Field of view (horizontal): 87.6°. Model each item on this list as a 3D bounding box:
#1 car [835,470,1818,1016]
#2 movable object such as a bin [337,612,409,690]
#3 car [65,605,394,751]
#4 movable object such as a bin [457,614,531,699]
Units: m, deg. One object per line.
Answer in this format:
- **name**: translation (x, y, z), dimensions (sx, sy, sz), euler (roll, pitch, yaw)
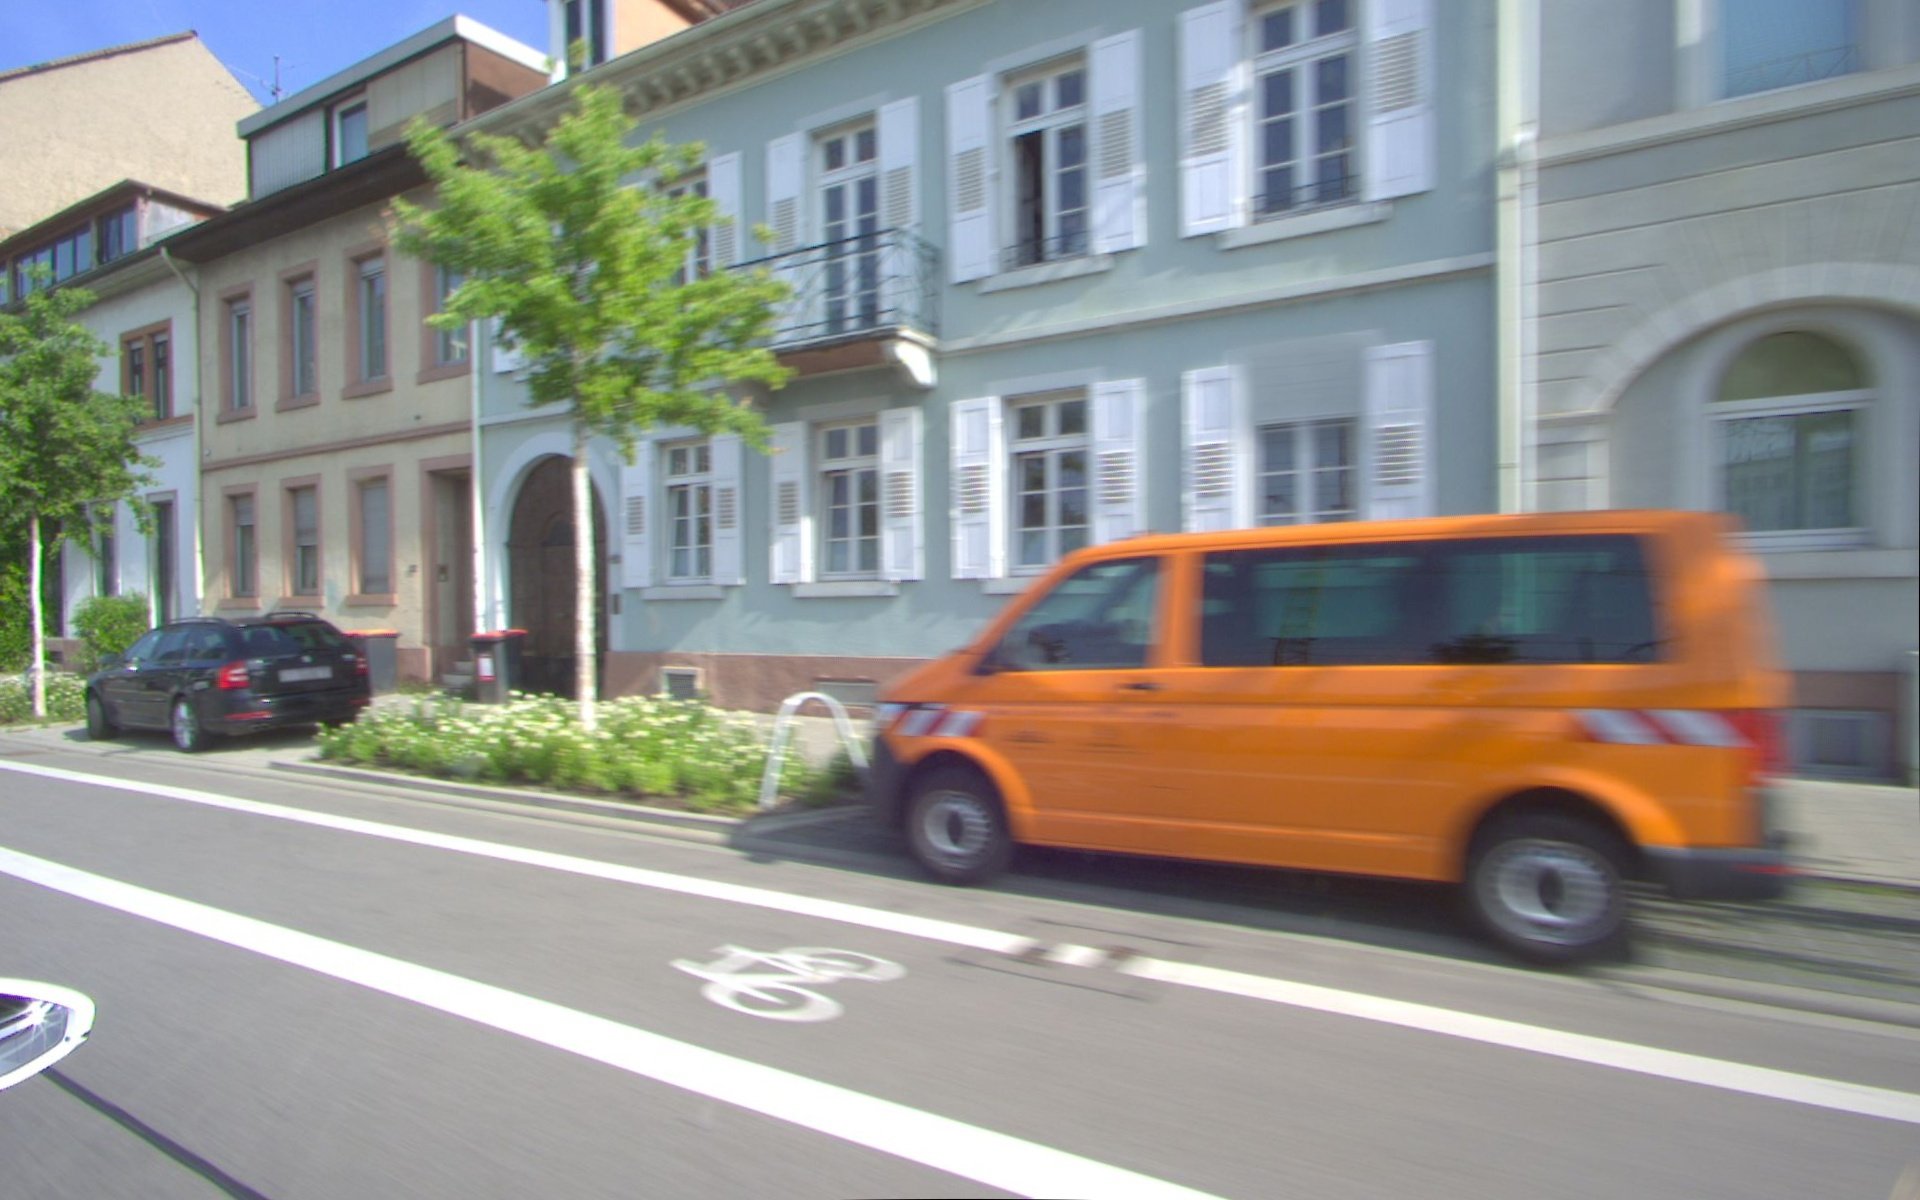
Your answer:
- **car**: translation (1.720, 0.525, 5.763), dimensions (4.518, 2.040, 2.060), euler (1, 0, 30)
- **movable object such as a bin**: translation (-9.568, 0.813, 16.330), dimensions (0.761, 1.216, 0.739), euler (1, 0, 29)
- **car**: translation (-9.050, 0.847, 12.341), dimensions (4.247, 1.503, 1.671), euler (0, 1, 30)
- **movable object such as a bin**: translation (-6.940, 0.827, 14.912), dimensions (0.769, 1.216, 0.678), euler (1, 0, 29)
